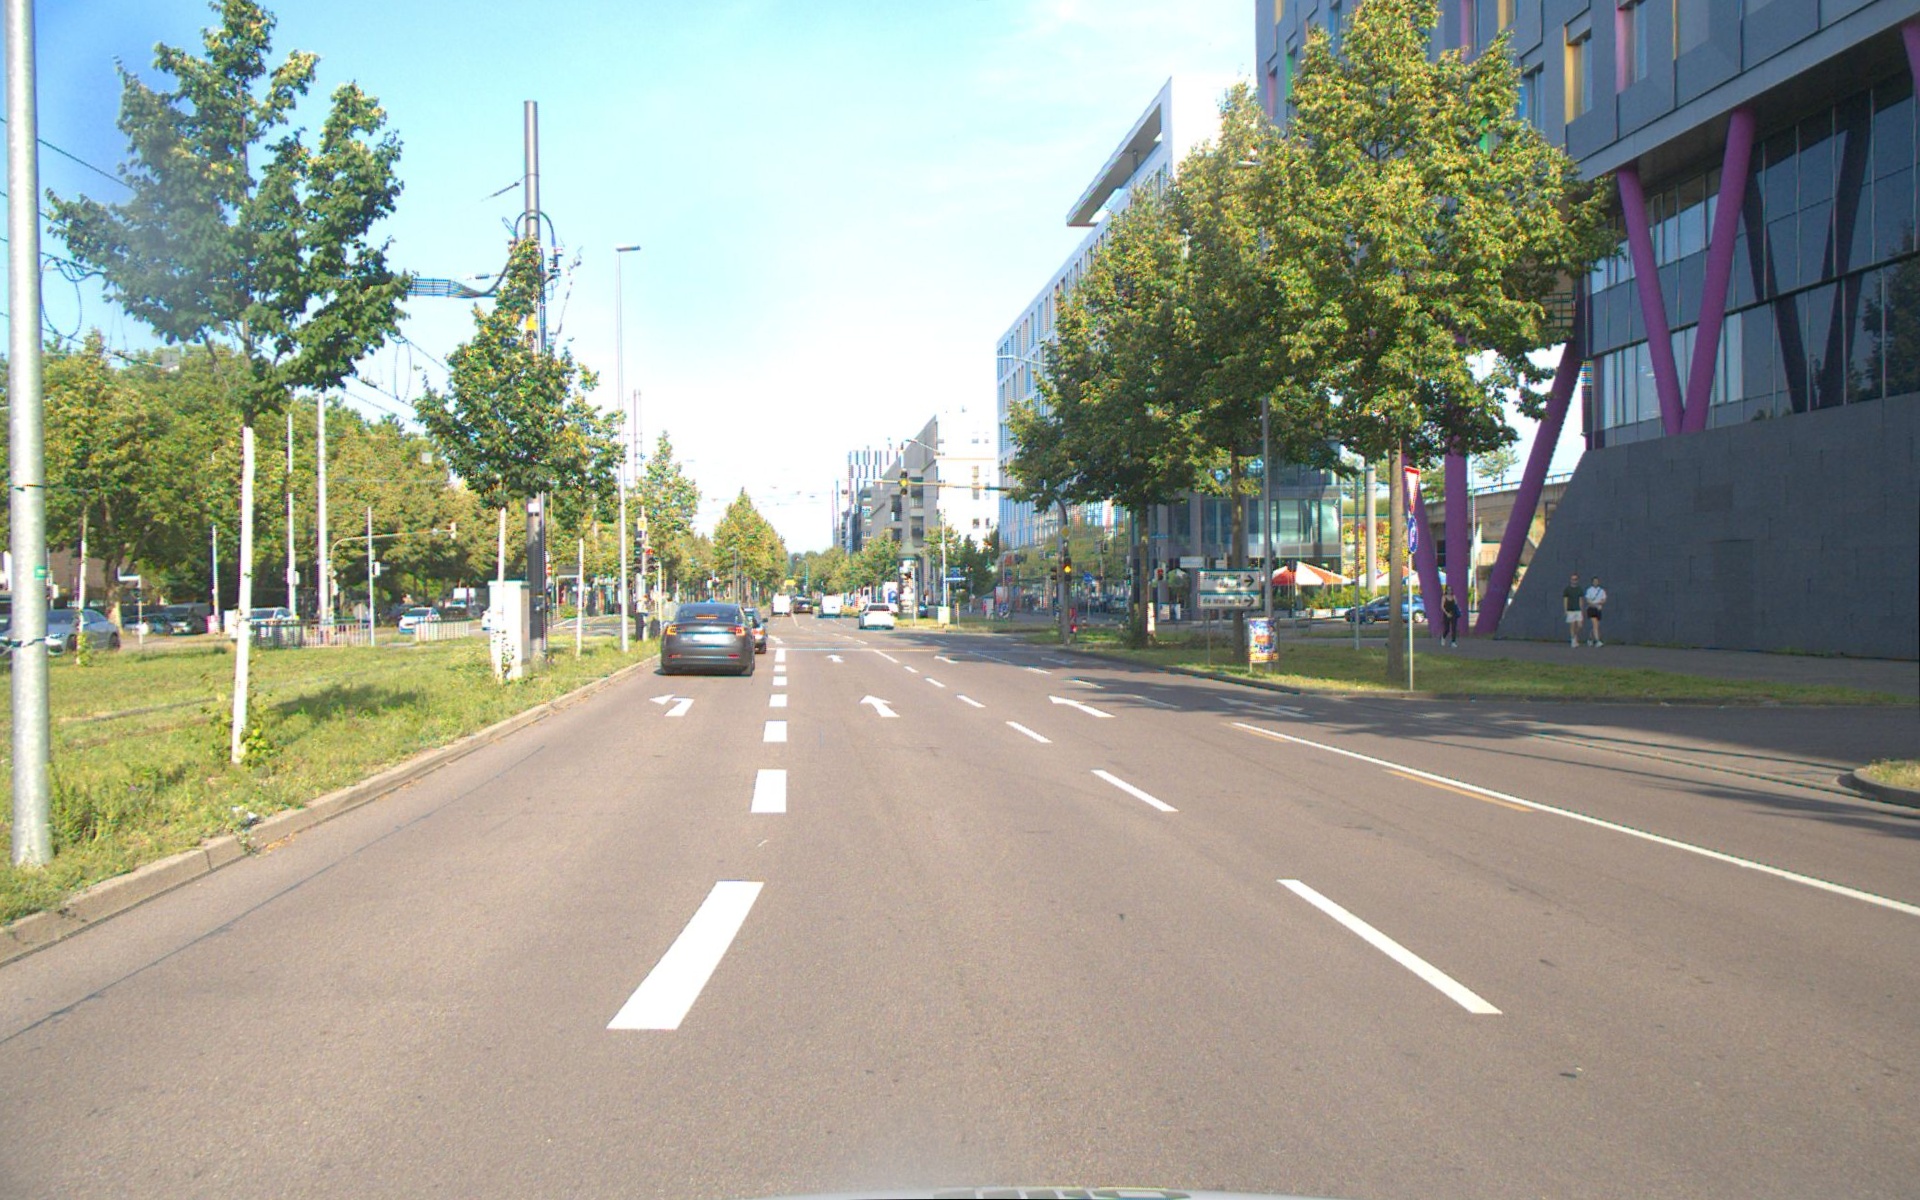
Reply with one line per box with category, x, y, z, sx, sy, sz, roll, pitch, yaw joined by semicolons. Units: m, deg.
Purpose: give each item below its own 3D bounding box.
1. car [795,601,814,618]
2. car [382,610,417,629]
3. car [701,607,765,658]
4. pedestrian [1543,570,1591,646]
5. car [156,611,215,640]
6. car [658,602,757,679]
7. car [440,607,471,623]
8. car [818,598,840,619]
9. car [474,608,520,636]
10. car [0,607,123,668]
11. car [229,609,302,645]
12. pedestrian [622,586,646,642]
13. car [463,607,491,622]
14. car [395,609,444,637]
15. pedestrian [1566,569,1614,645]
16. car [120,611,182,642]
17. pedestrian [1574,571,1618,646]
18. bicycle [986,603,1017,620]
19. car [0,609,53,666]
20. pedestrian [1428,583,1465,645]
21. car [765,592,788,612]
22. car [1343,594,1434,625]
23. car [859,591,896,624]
car;-15.787;0.950;167.759;1.887;1.713;3.995;1;0;-6
car;-50.217;1.749;148.287;1.843;1.587;3.999;-1;0;-1
car;-6.523;0.909;47.844;1.730;1.353;4.393;1;0;-7
pedestrian;15.051;0.201;41.049;0.740;1.824;0.842;-3;0;-7
car;-49.018;1.579;104.732;1.843;1.780;3.999;-1;0;-1
car;-5.118;0.790;33.948;1.854;1.410;4.327;1;0;-7
car;-50.590;1.525;165.896;1.843;1.587;3.999;-1;0;-1
car;-11.515;0.714;144.891;1.828;1.713;3.995;1;0;-6
car;-28.097;1.335;100.543;1.955;1.530;4.088;-2;0;-6
car;-26.431;1.058;48.500;1.958;1.554;4.900;-4;1;-11
car;-32.034;1.209;76.431;1.869;1.554;4.436;-1;0;-6
pedestrian;-10.578;0.451;53.678;0.686;1.823;0.634;1;0;-6
car;-50.744;1.498;173.841;1.843;1.587;3.999;-1;0;-1
car;-30.957;1.299;94.806;1.957;1.554;4.303;-1;0;-9
pedestrian;15.662;0.173;41.121;0.753;1.857;0.851;-2;0;-7
car;-48.864;1.595;99.965;1.843;1.780;3.999;-1;0;-1
pedestrian;15.829;0.217;41.188;0.644;1.824;0.785;-3;0;-7
bicycle;2.574;0.743;103.186;1.844;1.050;0.769;-1;0;41
car;-30.792;1.182;52.404;1.955;1.717;4.610;-1;0;-7
pedestrian;13.233;0.378;44.988;0.681;1.667;0.735;-2;0;-7
car;-16.506;0.153;149.115;1.976;1.713;3.995;1;0;-6
car;21.835;0.468;84.427;4.105;1.449;1.856;-1;0;-7
car;-4.536;0.397;90.779;1.828;1.713;3.995;1;0;-6
